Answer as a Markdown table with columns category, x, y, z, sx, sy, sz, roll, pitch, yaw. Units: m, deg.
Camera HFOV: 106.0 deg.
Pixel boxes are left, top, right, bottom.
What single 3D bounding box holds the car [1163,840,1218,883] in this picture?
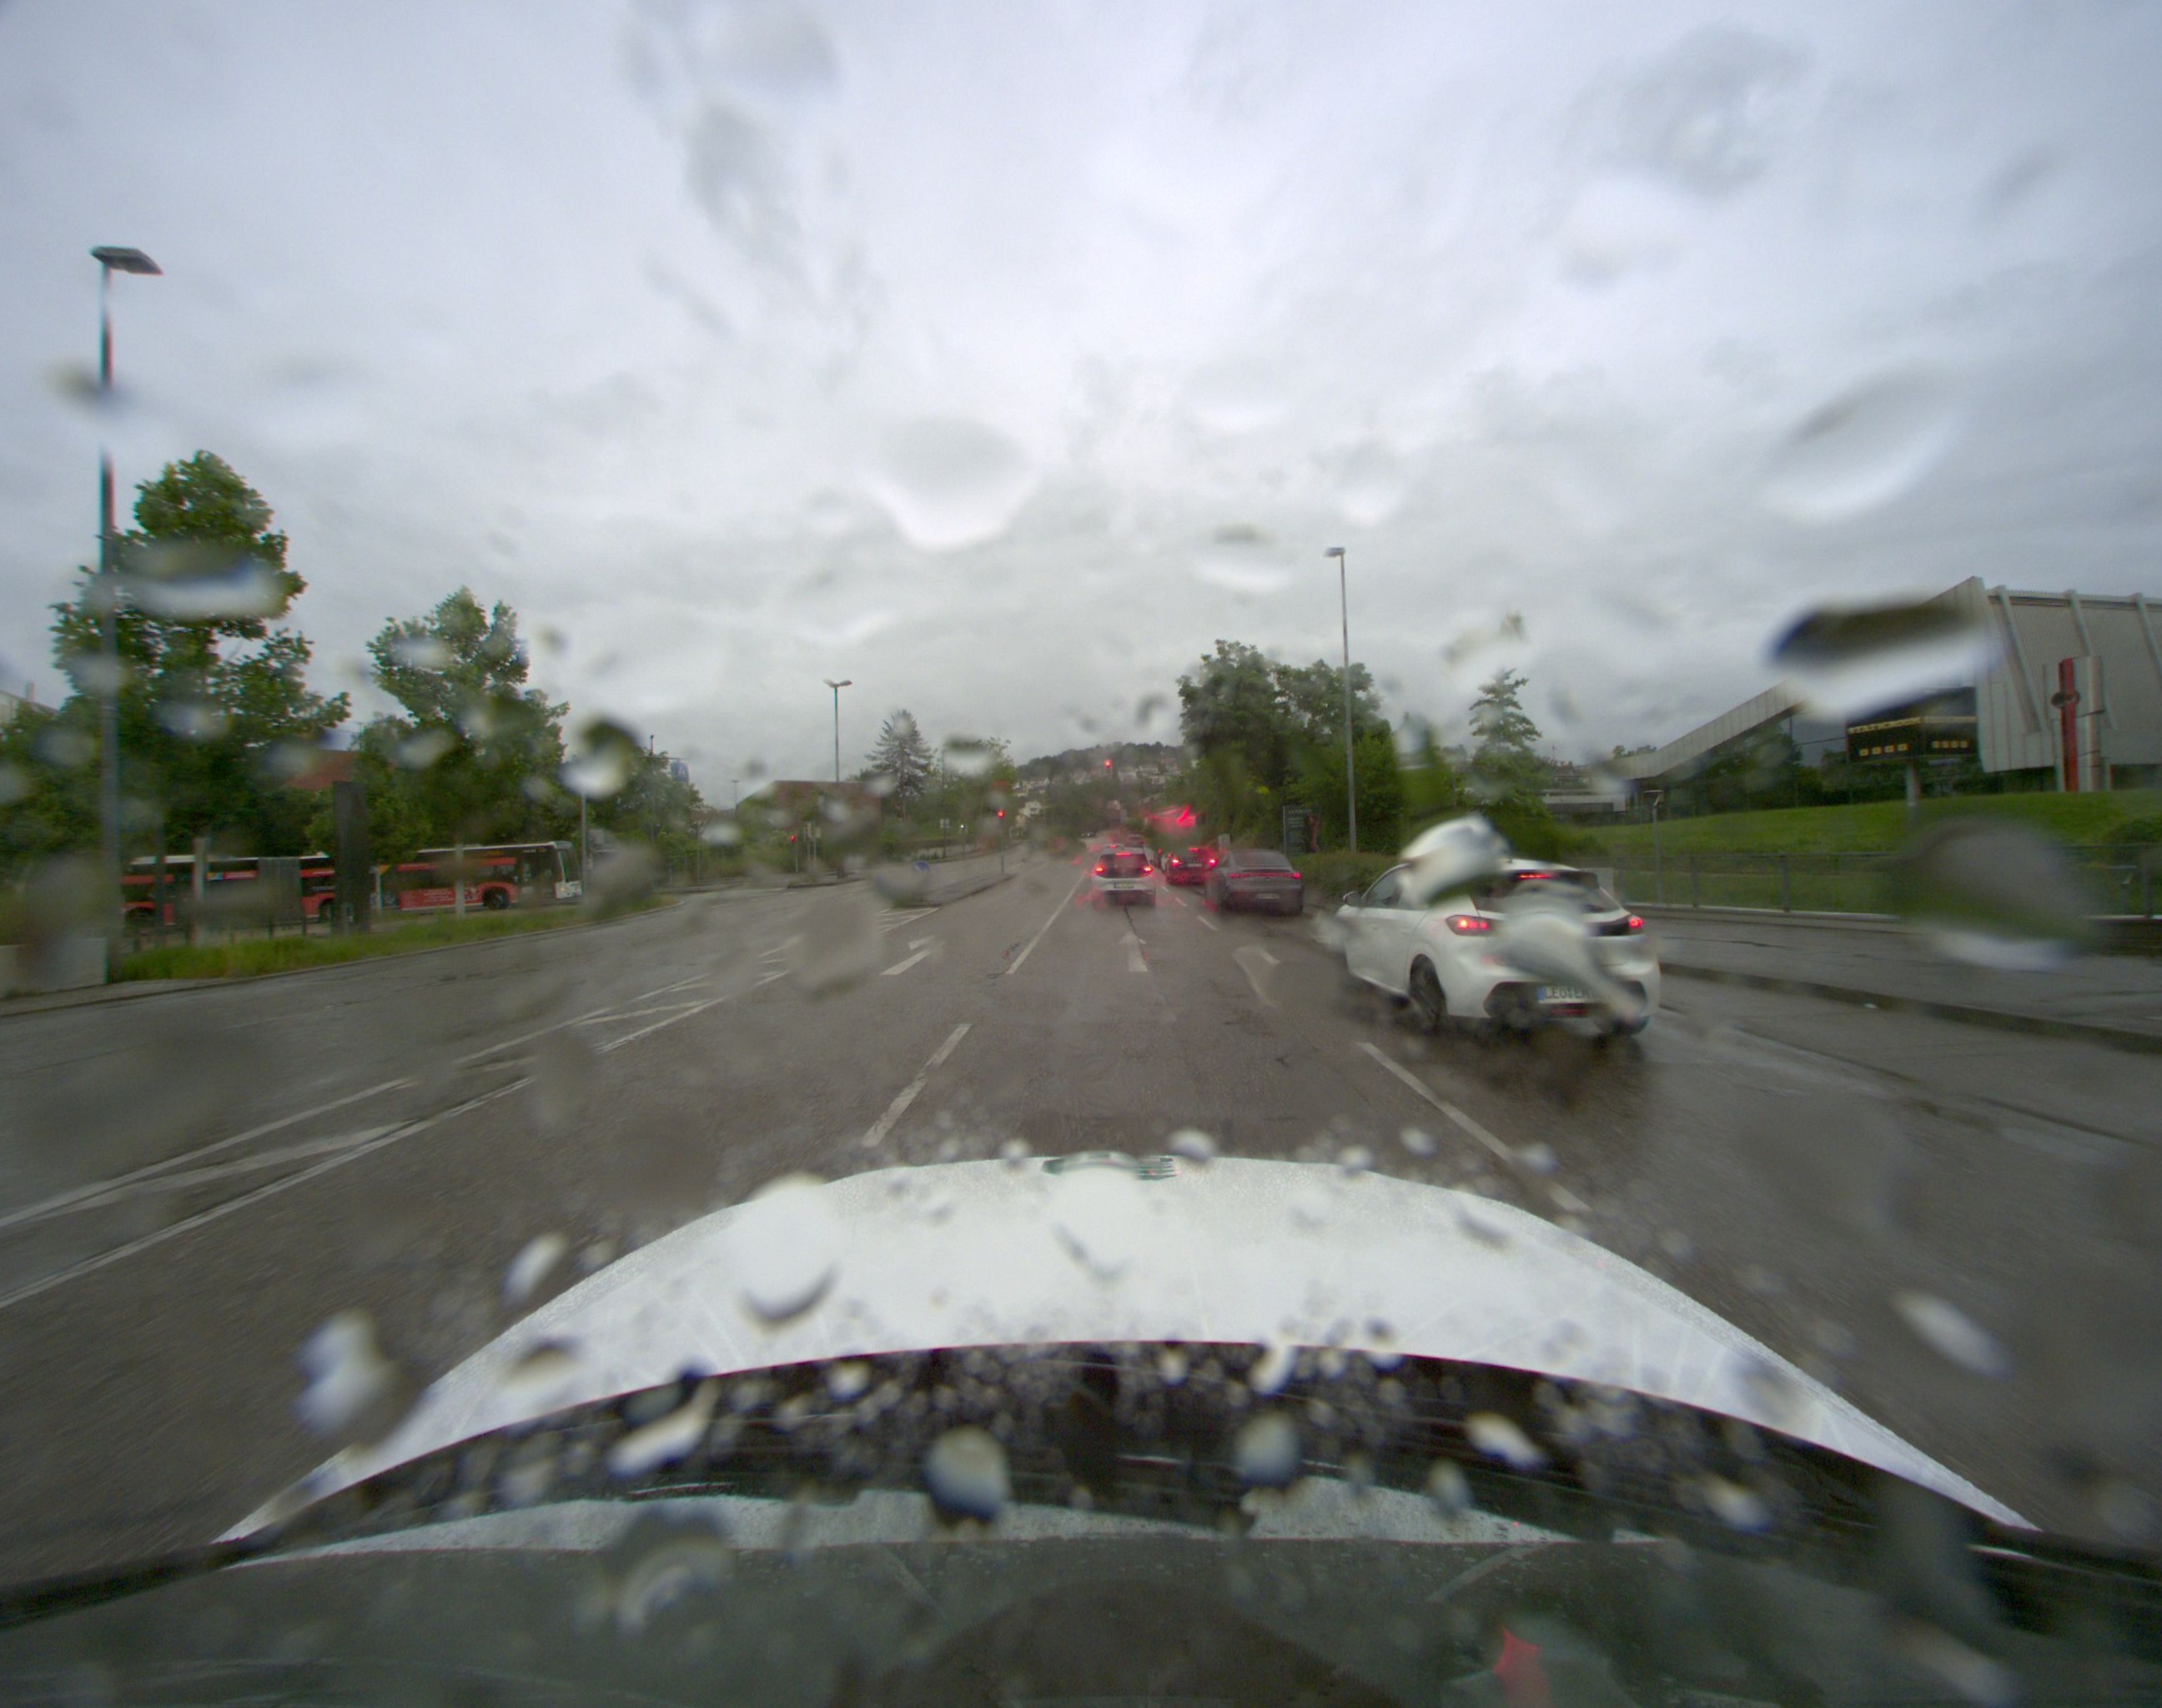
| category | x | y | z | sx | sy | sz | roll | pitch | yaw |
| --- | --- | --- | --- | --- | --- | --- | --- | --- | --- |
| car | 4.264 | 0.341 | 32.184 | 1.643 | 1.485 | 3.364 | -3 | -3 | 0 |

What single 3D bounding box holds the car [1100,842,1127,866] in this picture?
| category | x | y | z | sx | sy | sz | roll | pitch | yaw |
| --- | --- | --- | --- | --- | --- | --- | --- | --- | --- |
| car | 1.812 | 0.022 | 45.410 | 1.380 | 1.126 | 2.611 | -3 | -3 | 2 |

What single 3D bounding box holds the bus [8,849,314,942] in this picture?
| category | x | y | z | sx | sy | sz | roll | pitch | yaw |
| --- | --- | --- | --- | --- | --- | --- | --- | --- | --- |
| bus | -37.257 | 1.611 | 33.473 | 7.854 | 3.281 | 2.719 | -2 | -3 | -25 |

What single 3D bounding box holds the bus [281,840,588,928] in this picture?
| category | x | y | z | sx | sy | sz | roll | pitch | yaw |
| --- | --- | --- | --- | --- | --- | --- | --- | --- | --- |
| bus | -28.483 | 1.288 | 36.559 | 10.403 | 3.281 | 2.845 | -2 | -3 | -18 |

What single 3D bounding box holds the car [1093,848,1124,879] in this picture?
| category | x | y | z | sx | sy | sz | roll | pitch | yaw |
| --- | --- | --- | --- | --- | --- | --- | --- | --- | --- |
| car | 1.135 | 0.413 | 34.298 | 1.209 | 1.156 | 2.269 | -3 | -3 | -1 |

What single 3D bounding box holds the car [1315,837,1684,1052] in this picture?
| category | x | y | z | sx | sy | sz | roll | pitch | yaw |
| --- | --- | --- | --- | --- | --- | --- | --- | --- | --- |
| car | 3.635 | 0.628 | 7.949 | 1.684 | 1.519 | 3.935 | -1 | 1 | 2 |

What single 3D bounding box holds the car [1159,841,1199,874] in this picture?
| category | x | y | z | sx | sy | sz | roll | pitch | yaw |
| --- | --- | --- | --- | --- | --- | --- | --- | --- | --- |
| car | 4.813 | 0.202 | 40.447 | 1.559 | 1.397 | 3.958 | -3 | -3 | 2 |

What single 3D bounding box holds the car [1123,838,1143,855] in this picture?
| category | x | y | z | sx | sy | sz | roll | pitch | yaw |
| --- | --- | --- | --- | --- | --- | --- | --- | --- | --- |
| car | 5.435 | -0.779 | 85.400 | 1.790 | 1.569 | 3.523 | -3 | -3 | -2 |

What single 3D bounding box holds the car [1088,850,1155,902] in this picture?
| category | x | y | z | sx | sy | sz | roll | pitch | yaw |
| --- | --- | --- | --- | --- | --- | --- | --- | --- | --- |
| car | 1.140 | 0.638 | 23.356 | 1.735 | 1.296 | 3.335 | -3 | -2 | 2 |

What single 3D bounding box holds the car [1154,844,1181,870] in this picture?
| category | x | y | z | sx | sy | sz | roll | pitch | yaw |
| --- | --- | --- | --- | --- | --- | --- | --- | --- | --- |
| car | 5.124 | 0.141 | 48.242 | 1.310 | 1.397 | 3.081 | -3 | 2 | 2 |

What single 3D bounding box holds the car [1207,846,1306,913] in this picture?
| category | x | y | z | sx | sy | sz | roll | pitch | yaw |
| --- | --- | --- | --- | --- | --- | --- | --- | --- | --- |
| car | 4.120 | 0.550 | 19.608 | 1.727 | 1.387 | 3.354 | -1 | 2 | 1 |

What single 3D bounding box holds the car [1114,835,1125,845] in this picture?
| category | x | y | z | sx | sy | sz | roll | pitch | yaw |
| --- | --- | --- | --- | --- | --- | --- | --- | --- | --- |
| car | 5.356 | -1.999 | 113.792 | 1.363 | 1.157 | 2.424 | -3 | -2 | -2 |
